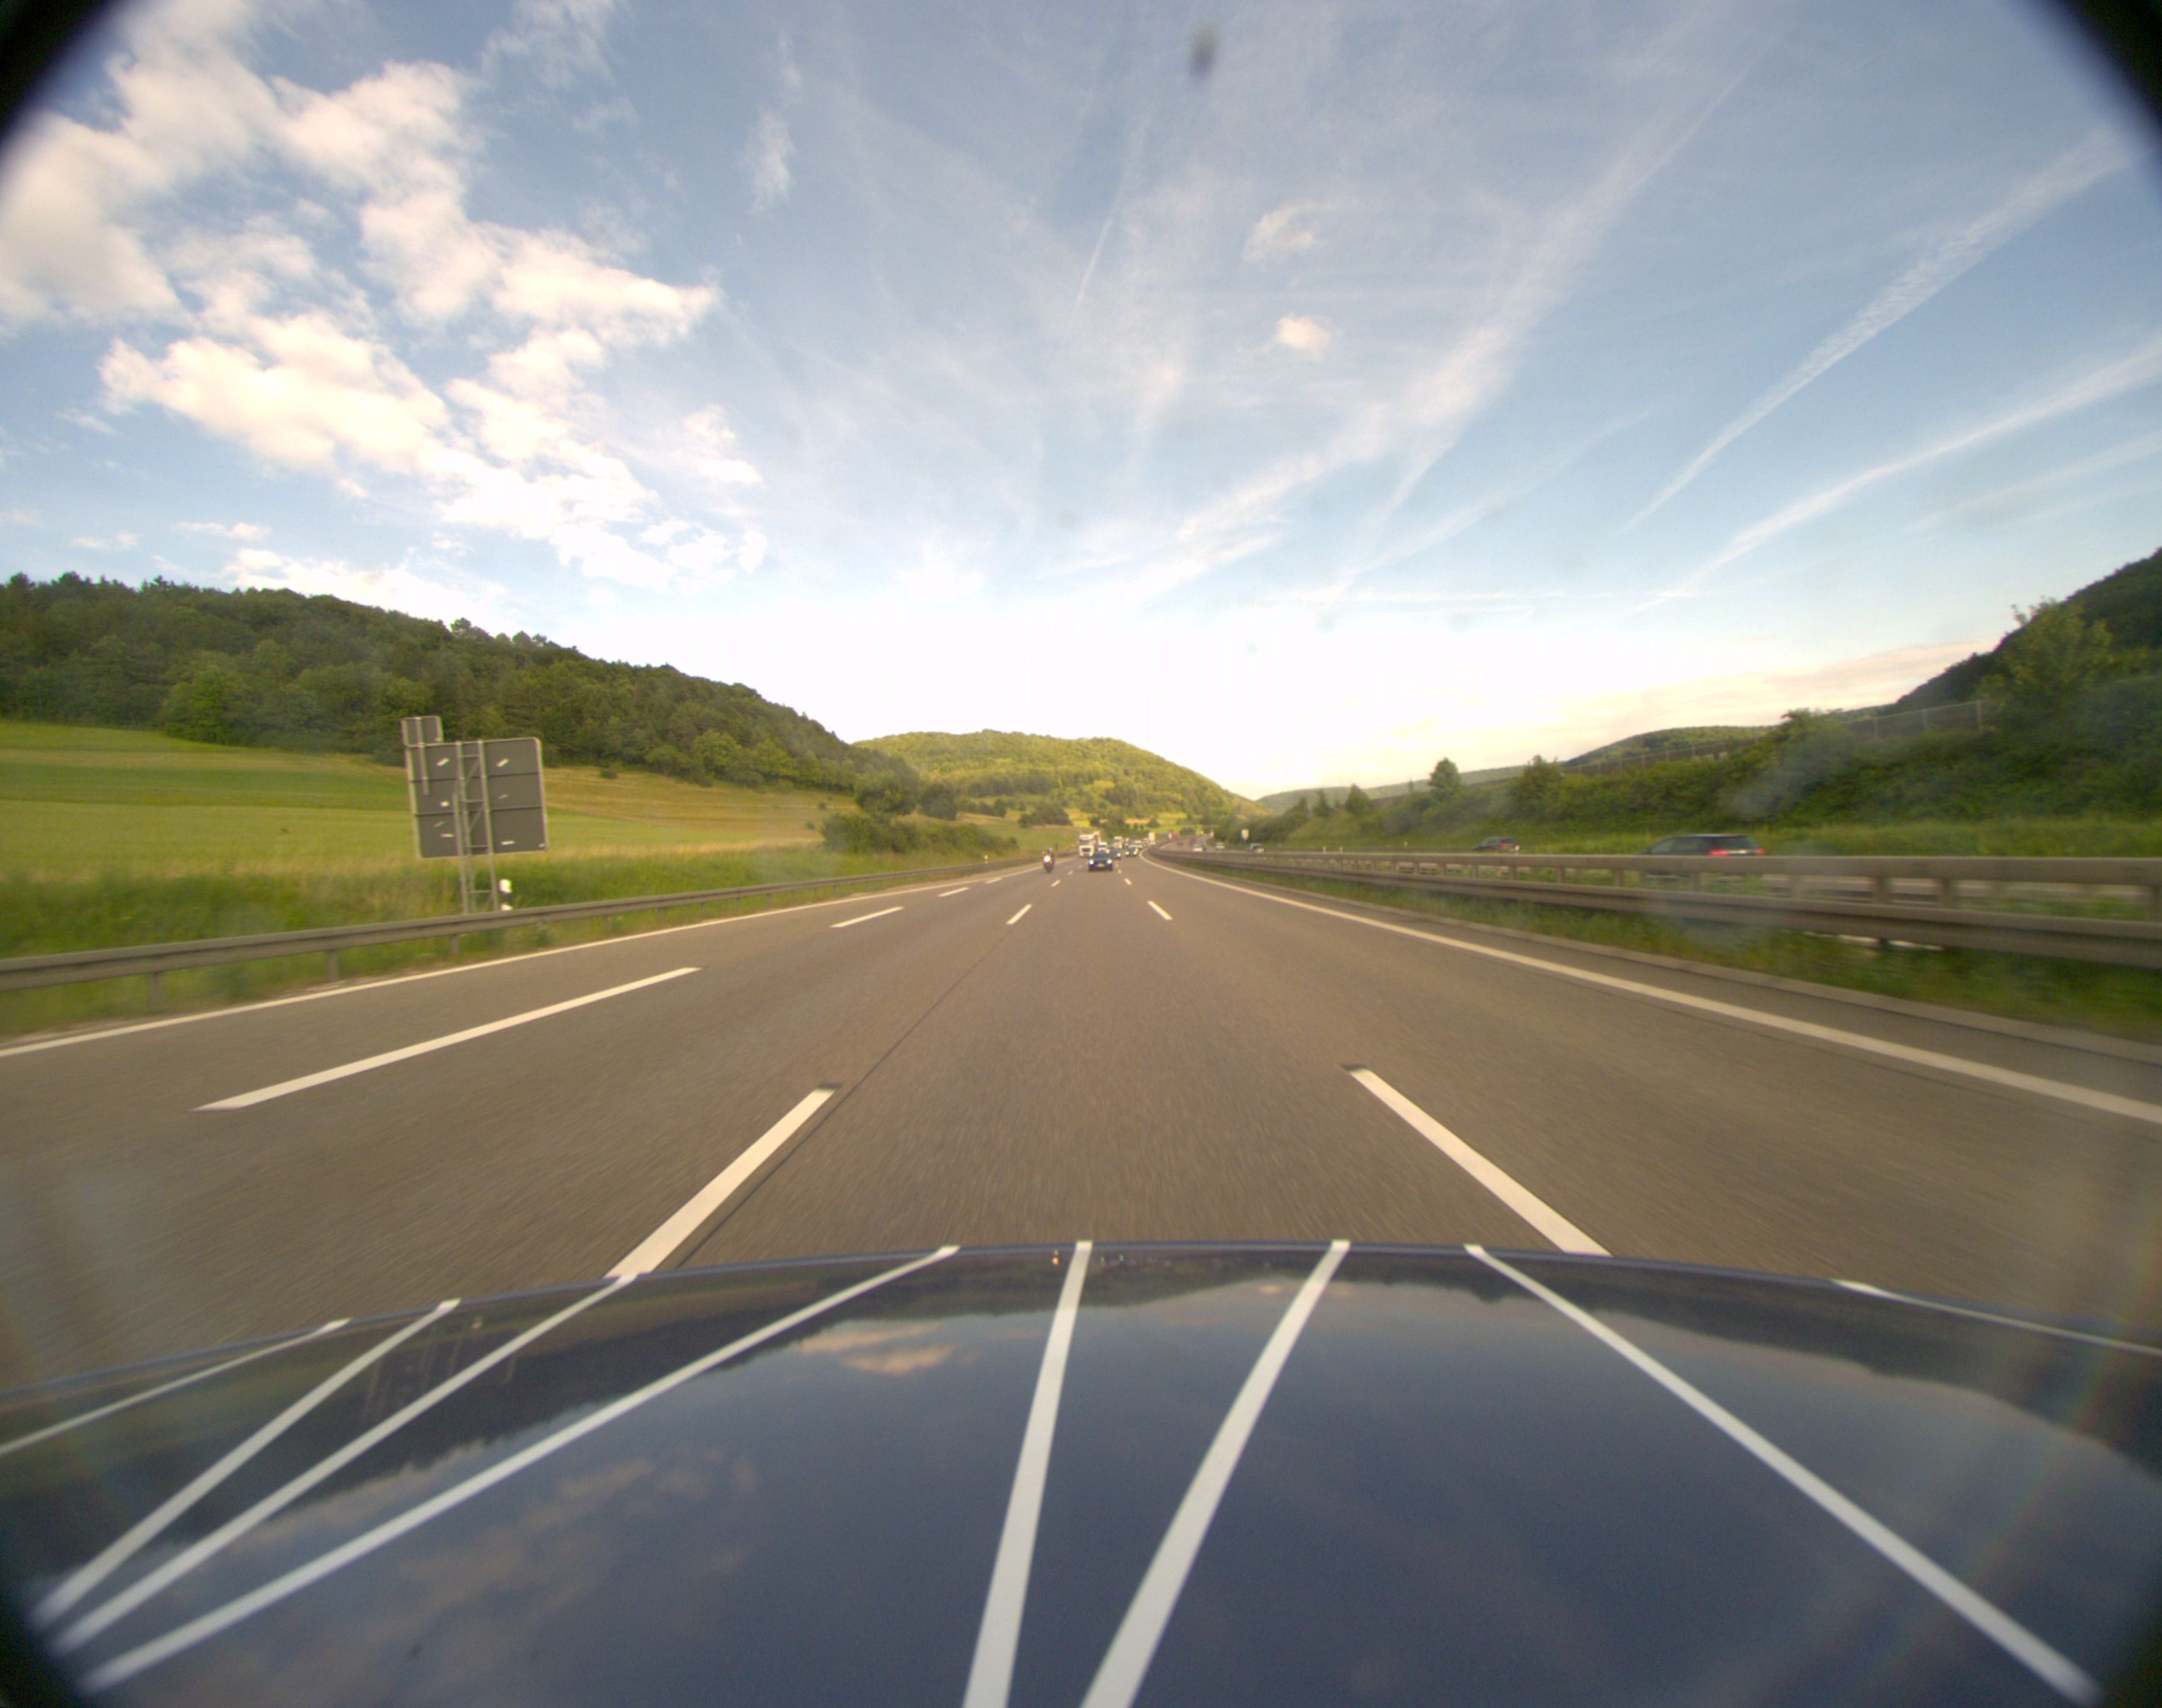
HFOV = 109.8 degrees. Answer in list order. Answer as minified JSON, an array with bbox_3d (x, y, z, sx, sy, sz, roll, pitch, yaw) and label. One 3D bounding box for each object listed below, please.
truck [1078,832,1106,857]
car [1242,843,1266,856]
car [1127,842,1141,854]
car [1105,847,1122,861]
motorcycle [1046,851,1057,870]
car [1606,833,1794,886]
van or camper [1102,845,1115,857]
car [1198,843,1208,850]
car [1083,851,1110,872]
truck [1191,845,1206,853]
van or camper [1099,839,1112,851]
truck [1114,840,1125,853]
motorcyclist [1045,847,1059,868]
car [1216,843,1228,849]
[{"bbox_3d":[2.058,-1.859,136.873,2.970,3.970,17.736,-2,2,7],"label":"truck"},{"bbox_3d":[21.233,-0.577,93.331,1.998,1.488,4.691,0,1,1],"label":"car"},{"bbox_3d":[8.765,-0.999,125.501,1.997,1.871,4.001,0,1,6],"label":"car"},{"bbox_3d":[4.392,-0.033,102.679,1.997,1.871,4.001,0,1,6],"label":"car"},{"bbox_3d":[-2.170,0.475,56.637,0.628,1.331,1.739,-2,2,2],"label":"motorcycle"},{"bbox_3d":[19.293,0.138,24.037,1.999,1.488,4.690,-1,1,-3],"label":"car"},{"bbox_3d":[4.889,-0.536,133.900,1.997,1.881,4.488,-2,2,7],"label":"van or camper"},{"bbox_3d":[27.184,-1.614,169.517,1.997,1.477,4.002,-1,1,7],"label":"car"},{"bbox_3d":[1.120,0.526,53.712,1.580,1.311,4.000,-2,2,5],"label":"car"},{"bbox_3d":[20.812,-0.865,134.929,1.998,1.357,4.645,-2,1,1],"label":"truck"},{"bbox_3d":[5.671,-2.062,173.053,1.997,2.702,7.526,-1,1,9],"label":"van or camper"},{"bbox_3d":[12.422,-2.563,244.986,2.924,3.877,13.010,-2,2,5],"label":"truck"},{"bbox_3d":[-2.153,0.261,56.603,0.878,1.506,0.797,-2,2,6],"label":"motorcyclist"},{"bbox_3d":[31.708,-1.863,170.868,1.764,1.350,4.381,-2,1,-3],"label":"car"}]
